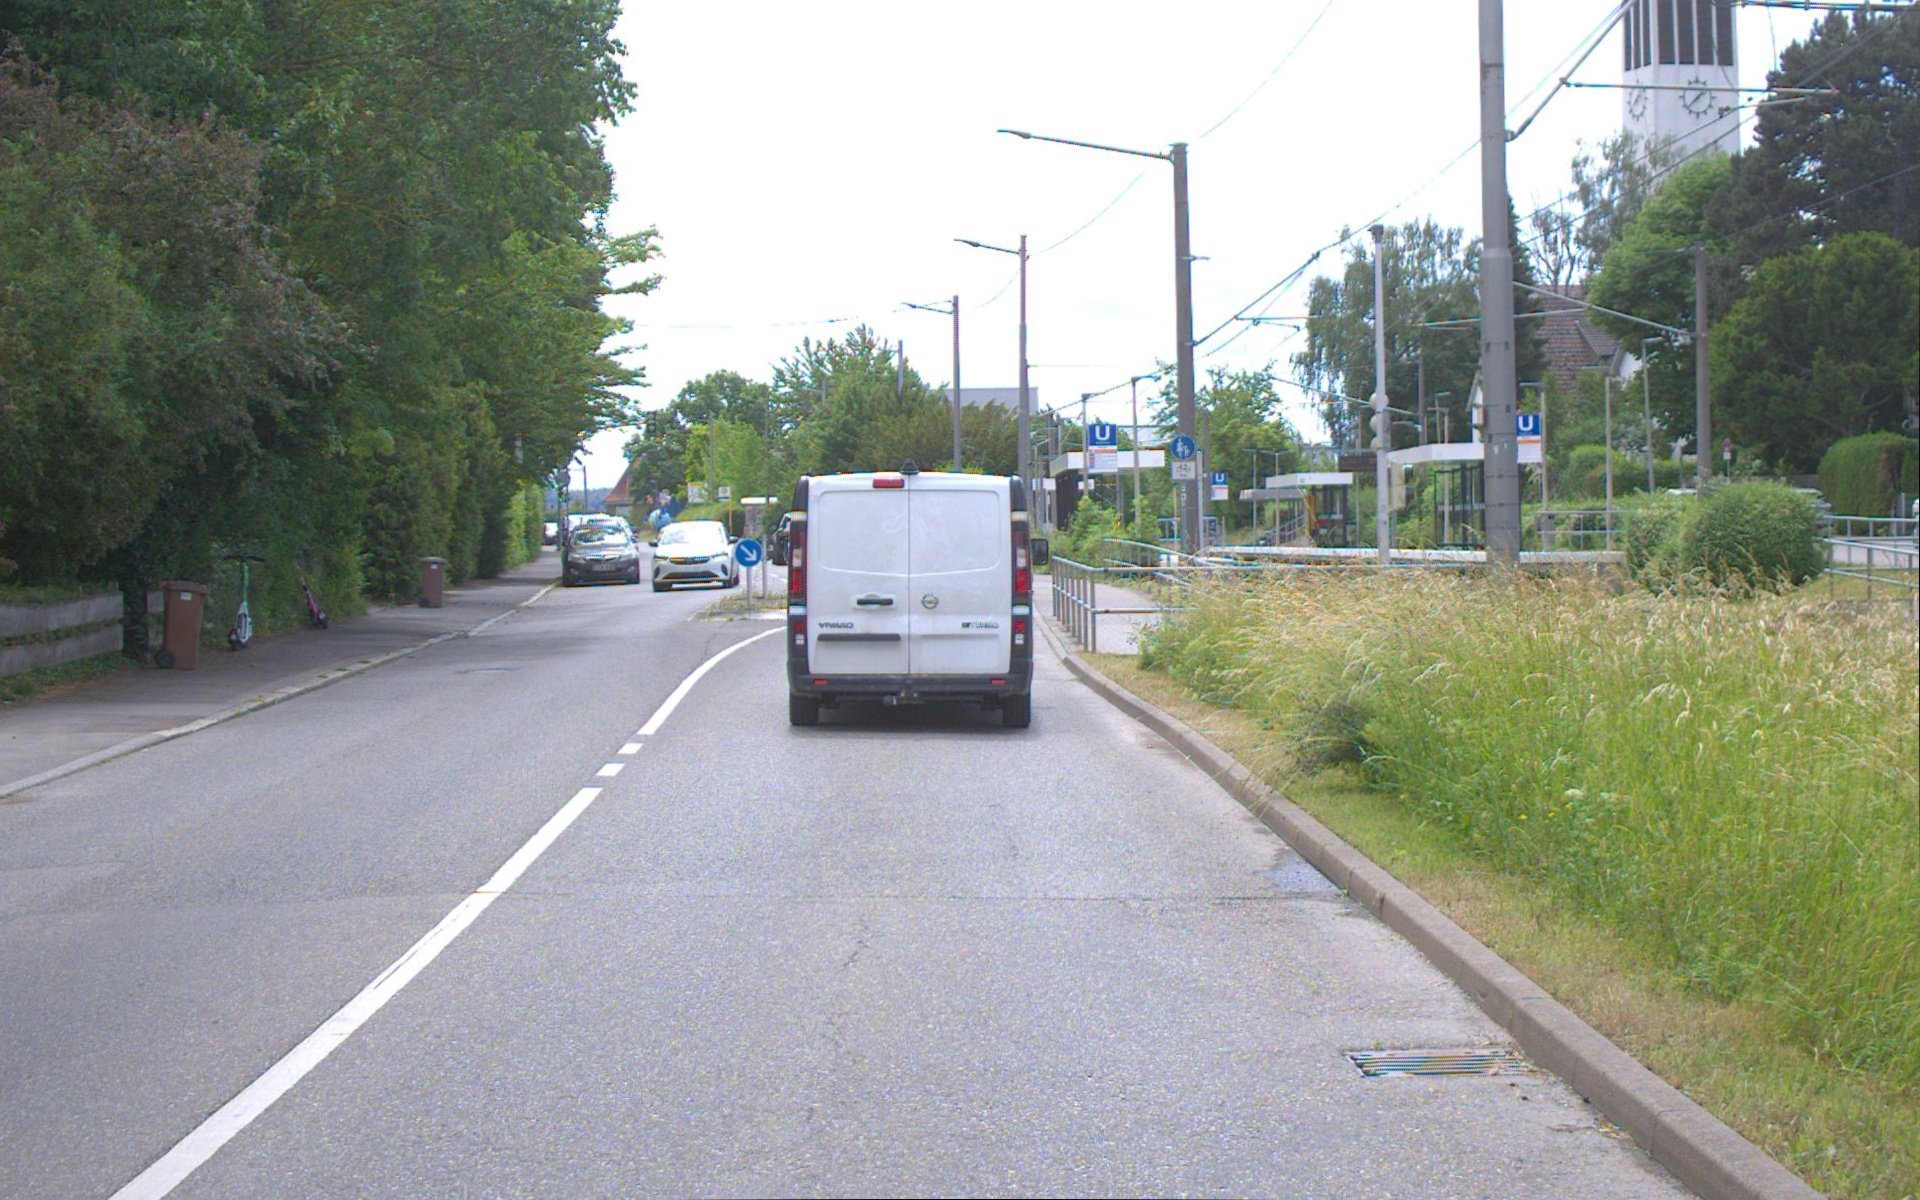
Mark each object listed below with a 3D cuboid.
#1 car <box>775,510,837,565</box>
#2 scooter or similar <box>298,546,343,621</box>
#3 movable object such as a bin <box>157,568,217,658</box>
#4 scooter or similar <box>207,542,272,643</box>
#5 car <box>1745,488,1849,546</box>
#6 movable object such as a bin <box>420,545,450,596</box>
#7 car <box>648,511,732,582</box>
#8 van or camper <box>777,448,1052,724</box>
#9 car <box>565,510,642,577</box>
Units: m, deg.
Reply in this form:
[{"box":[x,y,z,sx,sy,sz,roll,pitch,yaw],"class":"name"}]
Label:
[{"box":[-4.803,-1.955,106.545,1.852,1.642,3.735,-1,1,-3],"class":"car"},{"box":[-9.346,-0.245,50.210,0.477,1.077,1.214,0,1,-19],"class":"scooter or similar"},{"box":[-8.200,0.135,36.493,0.513,0.941,0.568,0,1,-1],"class":"movable object such as a bin"},{"box":[-8.788,-0.105,41.972,0.408,1.195,1.639,-1,1,1],"class":"scooter or similar"},{"box":[22.702,-2.256,93.356,1.883,1.517,4.000,-1,1,1],"class":"car"},{"box":[-9.763,-0.552,63.947,0.462,0.927,0.430,3,0,-17],"class":"movable object such as a bin"},{"box":[-5.814,-1.178,74.342,1.693,1.425,3.787,-3,1,-4],"class":"car"},{"box":[-0.329,-0.138,27.419,1.993,2.007,4.446,1,1,0],"class":"van or camper"},{"box":[-8.667,-1.380,83.262,1.736,1.499,4.479,-3,2,-6],"class":"car"}]
